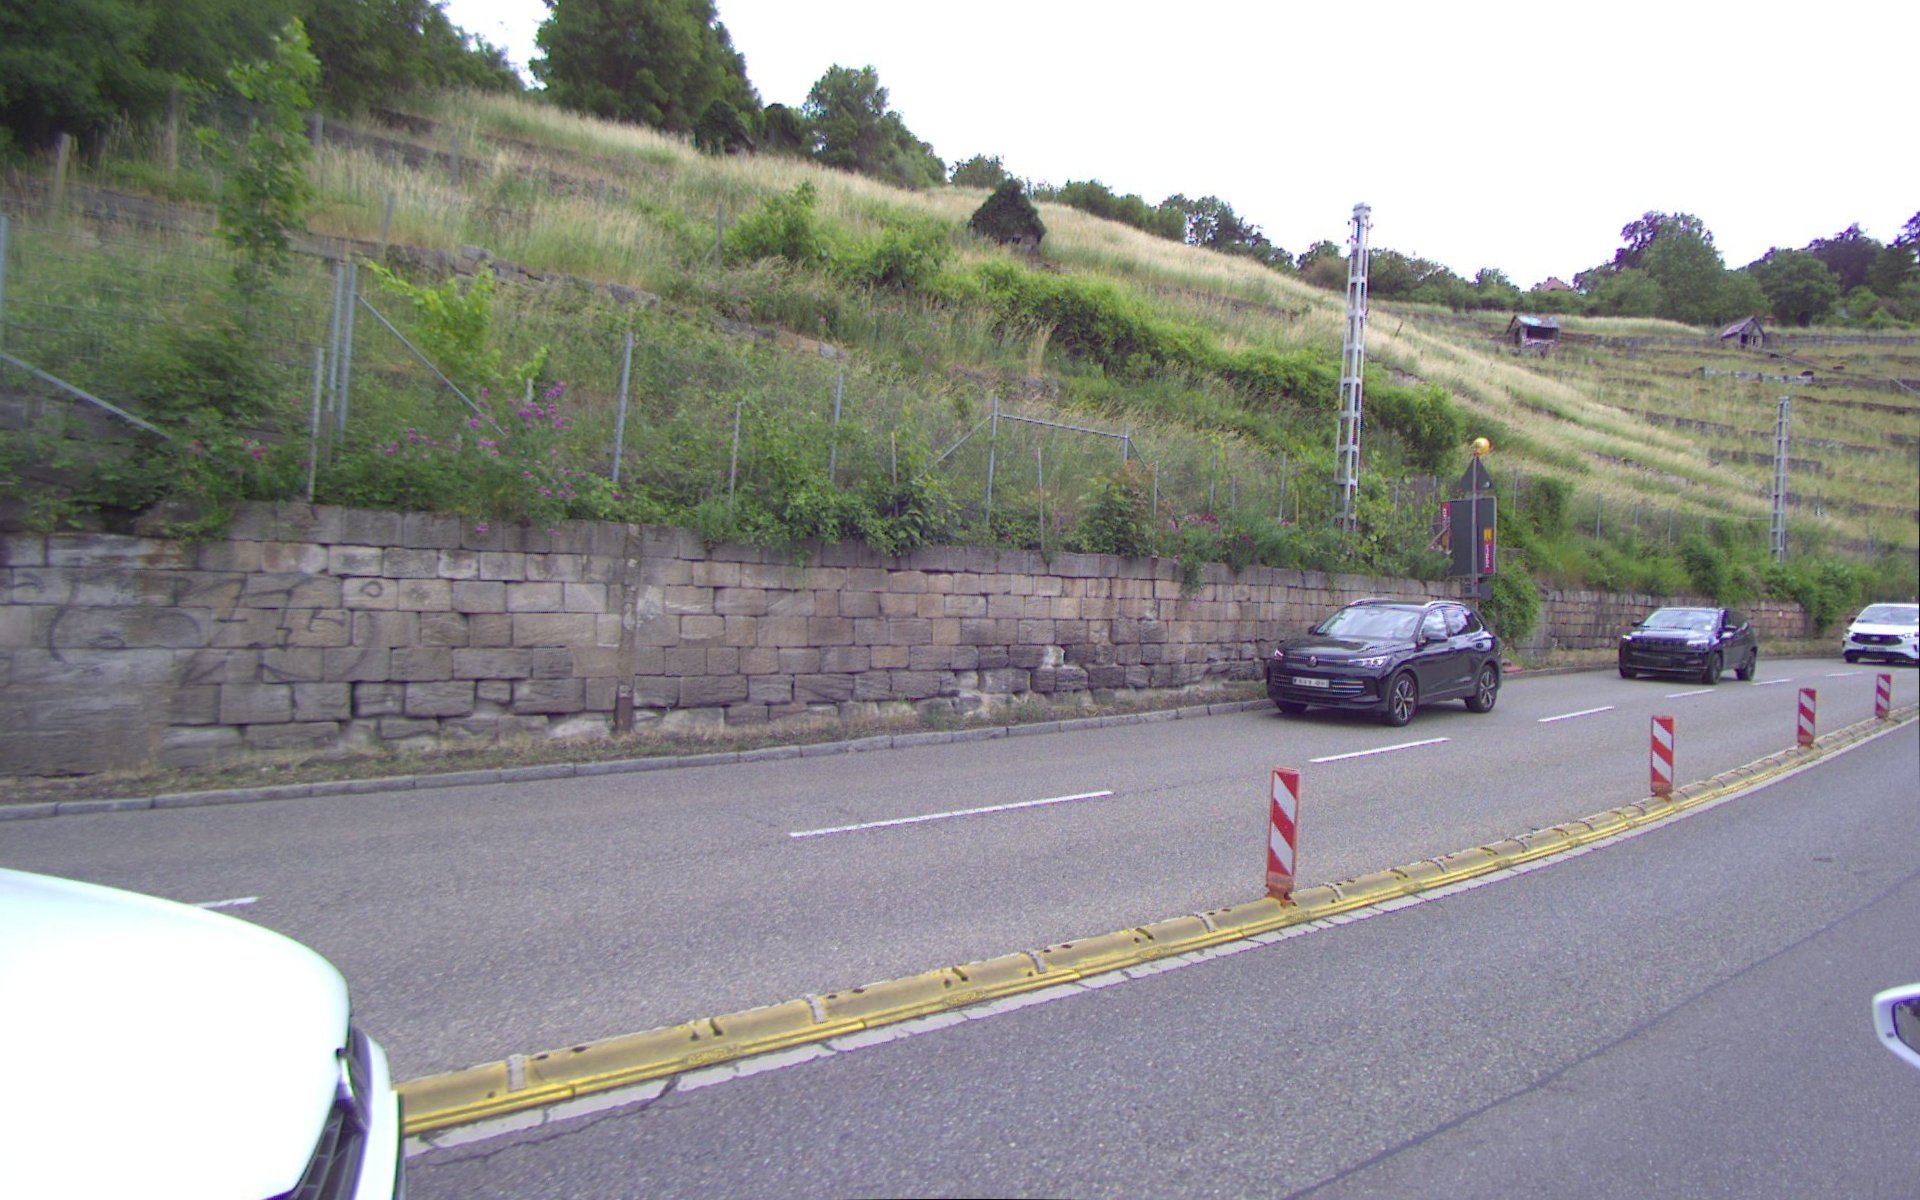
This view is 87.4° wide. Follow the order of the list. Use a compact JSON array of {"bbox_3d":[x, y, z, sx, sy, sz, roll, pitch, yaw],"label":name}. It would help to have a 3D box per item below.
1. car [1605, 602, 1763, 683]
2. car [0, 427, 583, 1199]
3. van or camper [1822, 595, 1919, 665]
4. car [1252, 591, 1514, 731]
[{"bbox_3d":[16.534,0.925,22.865,4.311,1.645,1.849,1,0,-39],"label":"car"},{"bbox_3d":[-2.700,0.652,0.858,4.299,1.601,1.815,1,-1,-27],"label":"car"},{"bbox_3d":[30.440,0.943,32.503,4.900,2.043,2.139,1,2,-28],"label":"van or camper"},{"bbox_3d":[6.333,0.749,14.804,4.428,1.749,1.827,-1,1,-41],"label":"car"}]
